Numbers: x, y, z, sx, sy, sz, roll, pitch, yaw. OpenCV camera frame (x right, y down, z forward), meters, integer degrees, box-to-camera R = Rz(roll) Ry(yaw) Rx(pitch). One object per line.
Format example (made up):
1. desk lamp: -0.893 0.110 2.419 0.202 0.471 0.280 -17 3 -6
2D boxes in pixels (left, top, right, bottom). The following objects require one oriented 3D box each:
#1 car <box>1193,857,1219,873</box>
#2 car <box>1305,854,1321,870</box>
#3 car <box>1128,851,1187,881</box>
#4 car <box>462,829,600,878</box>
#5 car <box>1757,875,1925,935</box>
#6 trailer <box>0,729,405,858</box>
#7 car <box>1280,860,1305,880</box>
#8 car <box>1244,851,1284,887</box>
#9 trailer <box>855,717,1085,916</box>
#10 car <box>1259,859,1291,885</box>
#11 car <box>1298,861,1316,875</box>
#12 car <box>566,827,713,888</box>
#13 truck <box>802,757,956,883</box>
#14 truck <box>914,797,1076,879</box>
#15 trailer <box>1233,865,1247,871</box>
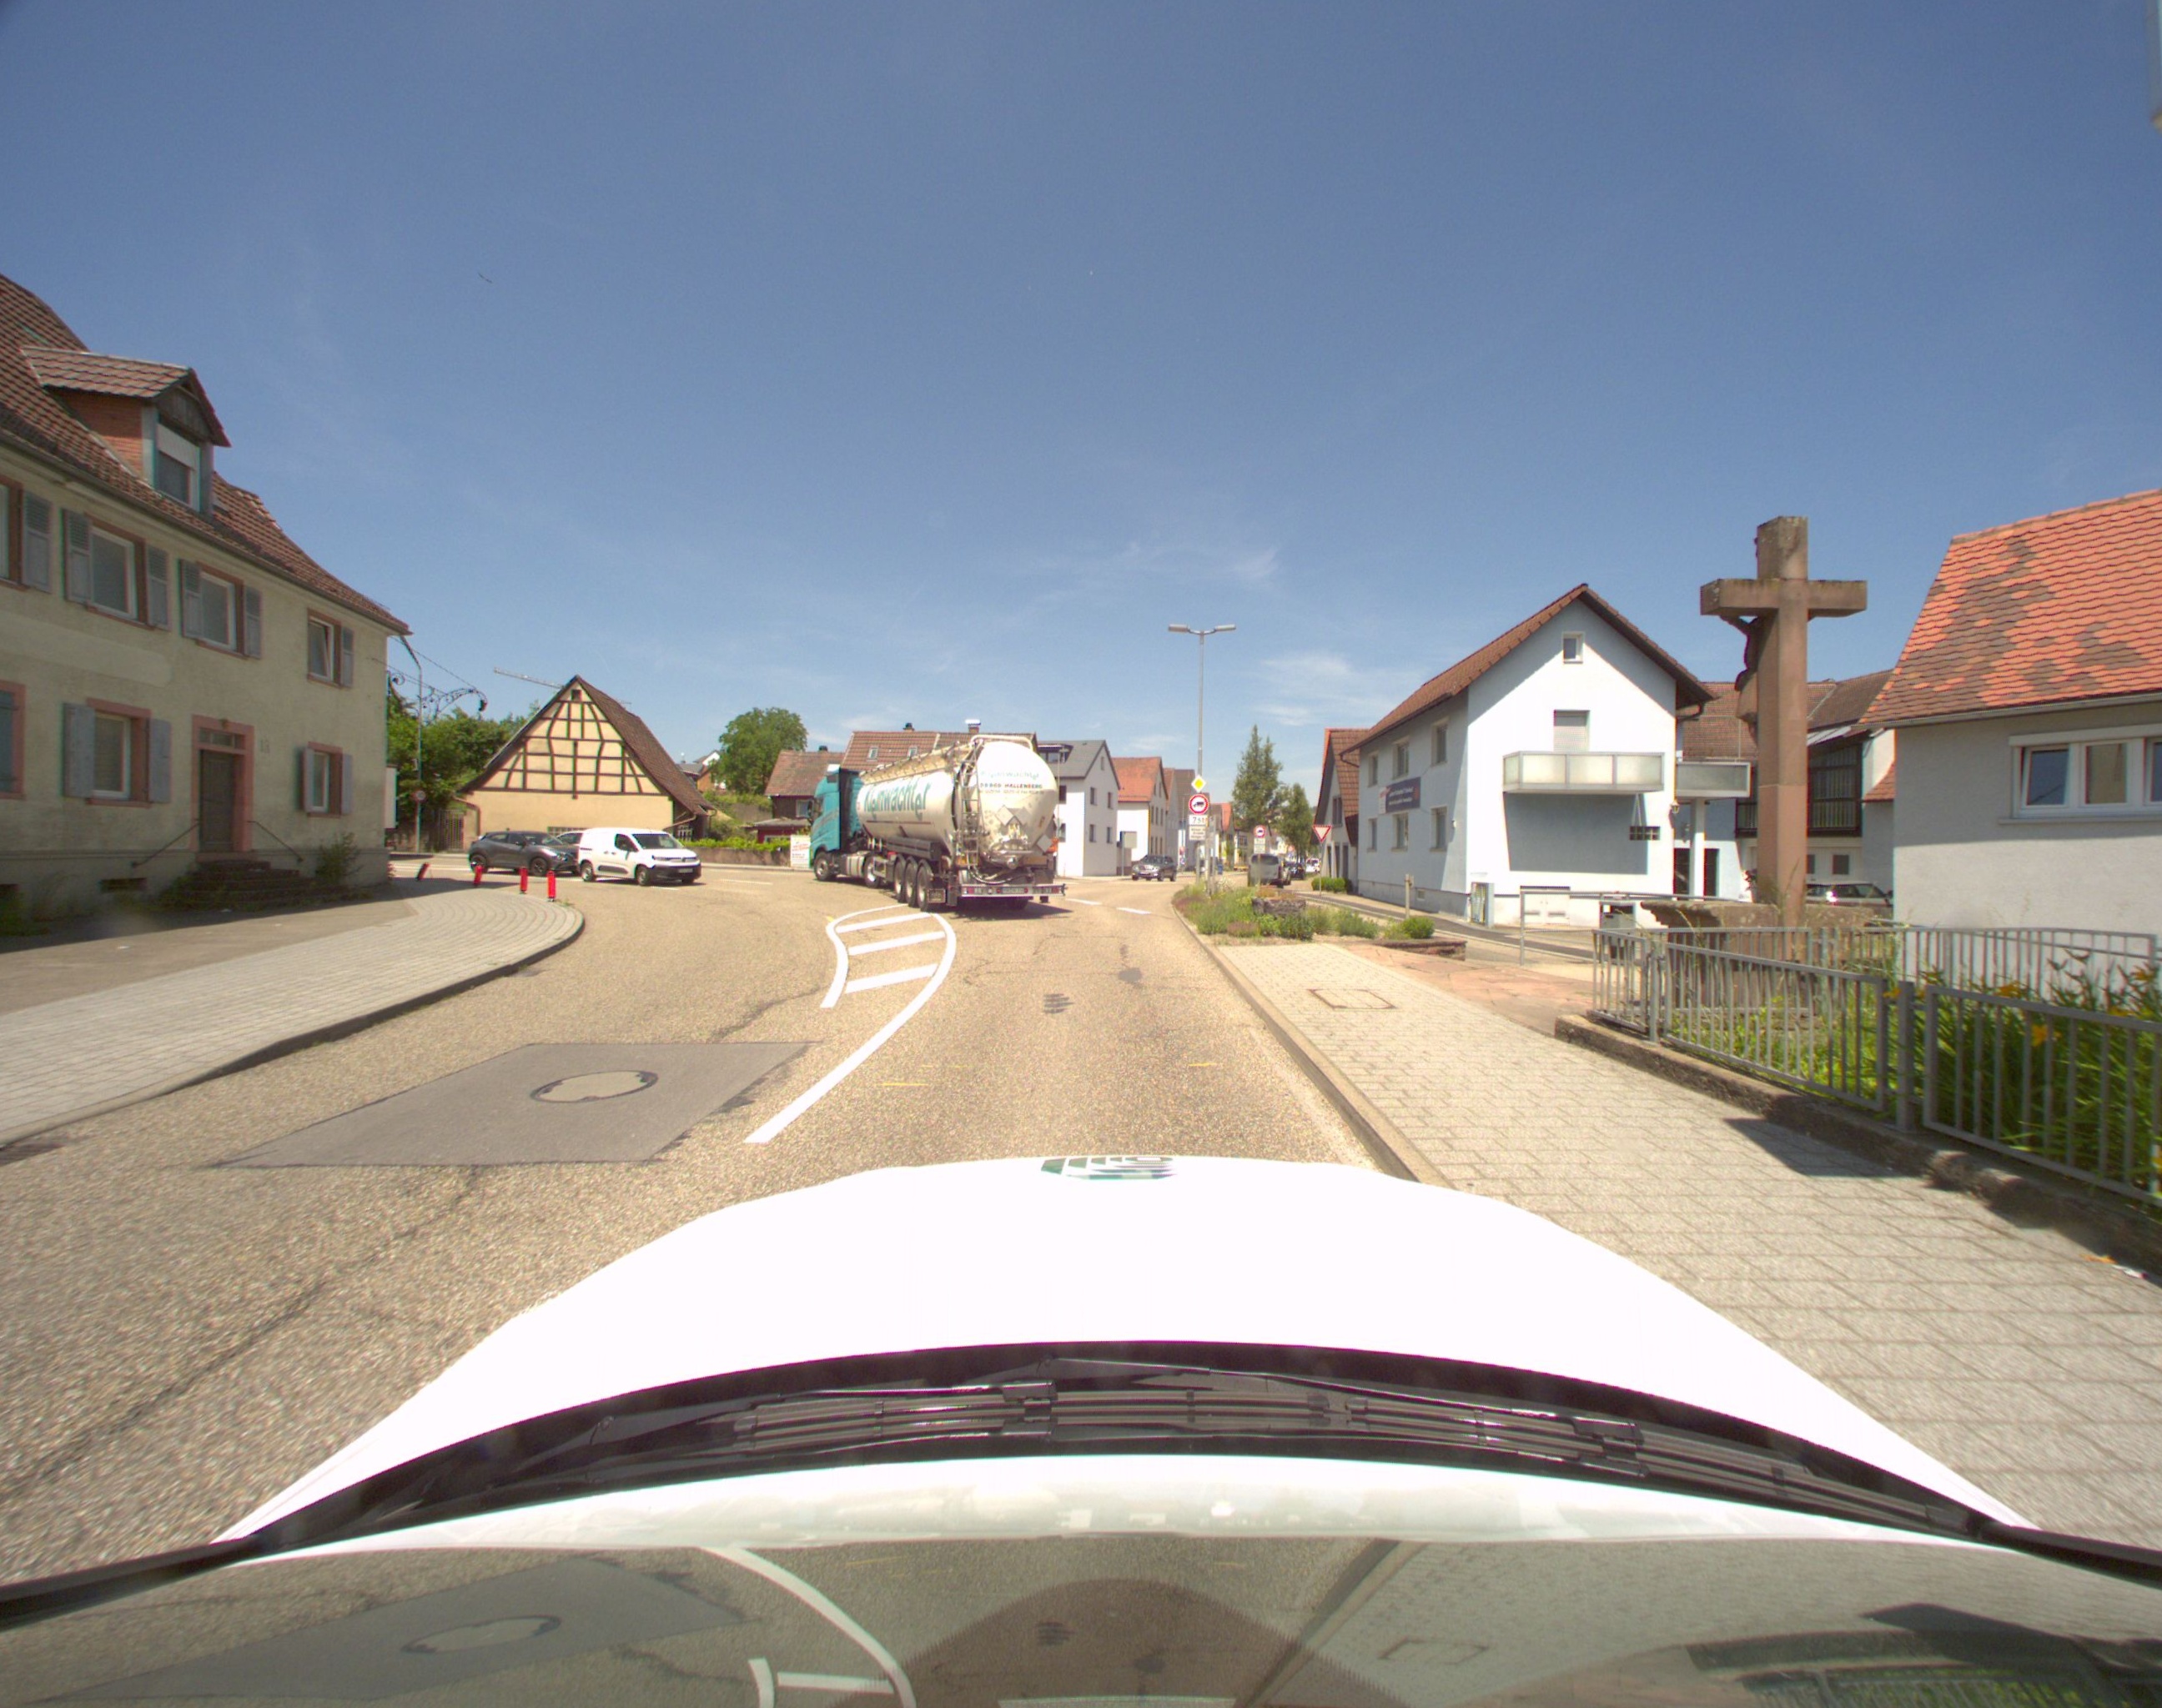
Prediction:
1. car: 13.567 1.184 88.177 1.702 1.596 4.022 2 0 23
2. car: 30.859 1.081 108.390 1.978 1.992 4.017 -1 -1 16
3. car: 4.741 0.740 49.762 1.975 1.675 4.338 2 0 28
4. car: -19.717 -0.027 29.245 3.960 1.524 1.804 2 0 13
5. car: 20.489 1.321 21.985 3.735 1.453 1.804 0 0 -19
6. trailer: -34.332 -2.152 31.355 12.469 4.277 3.128 2 -1 -14
7. car: 18.543 1.390 71.334 1.979 1.585 4.017 2 0 16
8. car: 10.545 0.892 46.623 1.979 1.912 4.341 2 -2 15
9. trailer: -3.659 -0.784 22.002 2.966 3.948 11.527 2 0 -24
10. car: 12.870 1.139 53.847 1.803 1.634 4.226 1 0 17
11. car: 27.062 1.619 97.299 1.979 1.585 4.017 2 0 16
12. car: -14.579 0.079 26.877 4.467 1.785 1.890 2 1 24
13. truck: -7.221 -1.085 28.659 3.013 3.965 5.513 2 0 -41
14. truck: -3.632 -0.553 36.416 2.635 3.181 7.508 1 -2 38
15. trailer: 22.630 1.996 116.029 1.939 0.777 2.727 2 0 9
